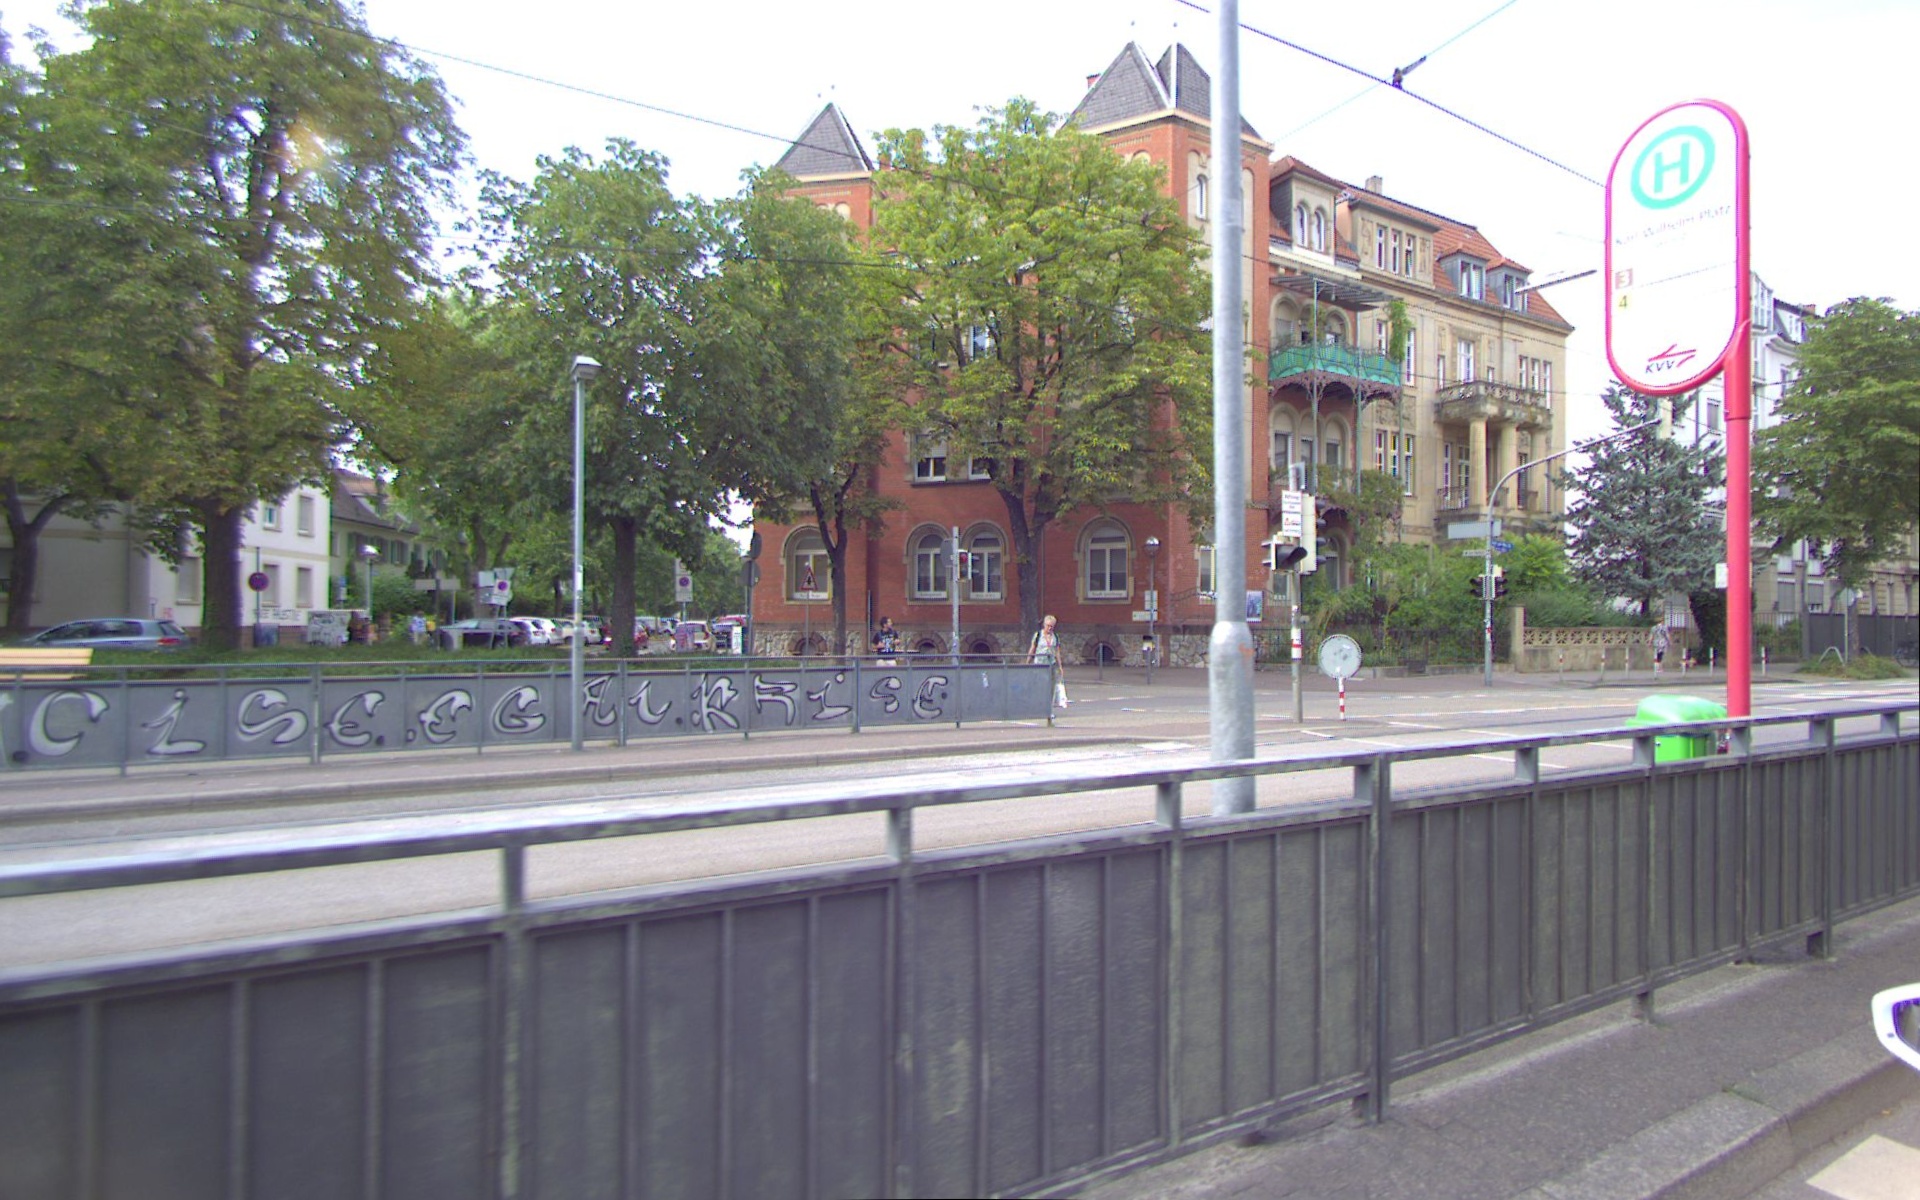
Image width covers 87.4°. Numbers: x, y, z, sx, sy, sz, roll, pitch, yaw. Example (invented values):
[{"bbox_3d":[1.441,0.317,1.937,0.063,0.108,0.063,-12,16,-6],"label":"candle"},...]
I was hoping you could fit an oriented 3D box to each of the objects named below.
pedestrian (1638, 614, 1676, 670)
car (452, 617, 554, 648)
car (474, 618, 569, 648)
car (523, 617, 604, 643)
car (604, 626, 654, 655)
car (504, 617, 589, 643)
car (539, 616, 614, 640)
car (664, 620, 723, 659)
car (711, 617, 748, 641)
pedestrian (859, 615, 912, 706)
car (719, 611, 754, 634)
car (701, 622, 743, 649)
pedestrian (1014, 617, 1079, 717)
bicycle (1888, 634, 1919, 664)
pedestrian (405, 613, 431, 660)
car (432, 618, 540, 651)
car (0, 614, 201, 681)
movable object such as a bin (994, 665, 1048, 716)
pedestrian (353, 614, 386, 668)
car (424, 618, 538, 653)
[{"bbox_3d":[22.876,1.376,32.966,0.825,1.807,0.727,1,-1,-30],"label":"pedestrian"},{"bbox_3d":[-21.306,1.534,46.954,3.926,1.414,1.813,0,-1,-8],"label":"car"},{"bbox_3d":[-21.611,1.629,49.631,3.926,1.414,1.813,0,-1,-8],"label":"car"},{"bbox_3d":[-22.631,1.715,57.465,3.926,1.414,1.813,0,-1,-8],"label":"car"},{"bbox_3d":[-17.848,2.161,54.260,1.782,1.497,3.996,0,-1,-7],"label":"car"},{"bbox_3d":[-22.527,1.628,54.803,3.926,1.414,1.813,0,-1,-8],"label":"car"},{"bbox_3d":[-23.297,1.711,61.112,3.926,1.414,1.813,0,-1,-8],"label":"car"},{"bbox_3d":[-10.960,1.608,41.556,1.782,1.497,3.996,0,-1,-7],"label":"car"},{"bbox_3d":[-13.776,1.734,60.230,1.782,1.414,3.996,0,-1,-7],"label":"car"},{"bbox_3d":[-1.462,1.168,19.711,0.725,1.725,0.827,1,-1,-35],"label":"pedestrian"},{"bbox_3d":[-14.486,1.449,65.210,1.782,1.414,3.996,0,-1,-7],"label":"car"},{"bbox_3d":[-12.953,1.920,54.753,1.782,1.414,3.996,0,-1,-7],"label":"car"},{"bbox_3d":[1.469,1.114,17.102,0.737,1.654,0.863,1,-1,-35],"label":"pedestrian"},{"bbox_3d":[37.288,1.910,39.056,1.639,1.134,0.573,-1,-1,21],"label":"bicycle"},{"bbox_3d":[-20.773,1.409,38.495,0.671,1.777,0.731,0,-1,-9],"label":"pedestrian"},{"bbox_3d":[-20.891,1.503,44.433,3.926,1.414,1.813,0,-1,-8],"label":"car"},{"bbox_3d":[-22.175,1.169,25.427,4.287,1.599,2.200,1,-1,-24],"label":"car"},{"bbox_3d":[1.052,1.553,17.388,0.616,0.810,0.723,1,-1,-35],"label":"movable object such as a bin"},{"bbox_3d":[-19.528,1.356,33.254,0.720,1.777,0.752,0,-1,-12],"label":"pedestrian"},{"bbox_3d":[-20.053,1.483,42.183,3.926,1.414,1.813,0,-1,-8],"label":"car"}]
